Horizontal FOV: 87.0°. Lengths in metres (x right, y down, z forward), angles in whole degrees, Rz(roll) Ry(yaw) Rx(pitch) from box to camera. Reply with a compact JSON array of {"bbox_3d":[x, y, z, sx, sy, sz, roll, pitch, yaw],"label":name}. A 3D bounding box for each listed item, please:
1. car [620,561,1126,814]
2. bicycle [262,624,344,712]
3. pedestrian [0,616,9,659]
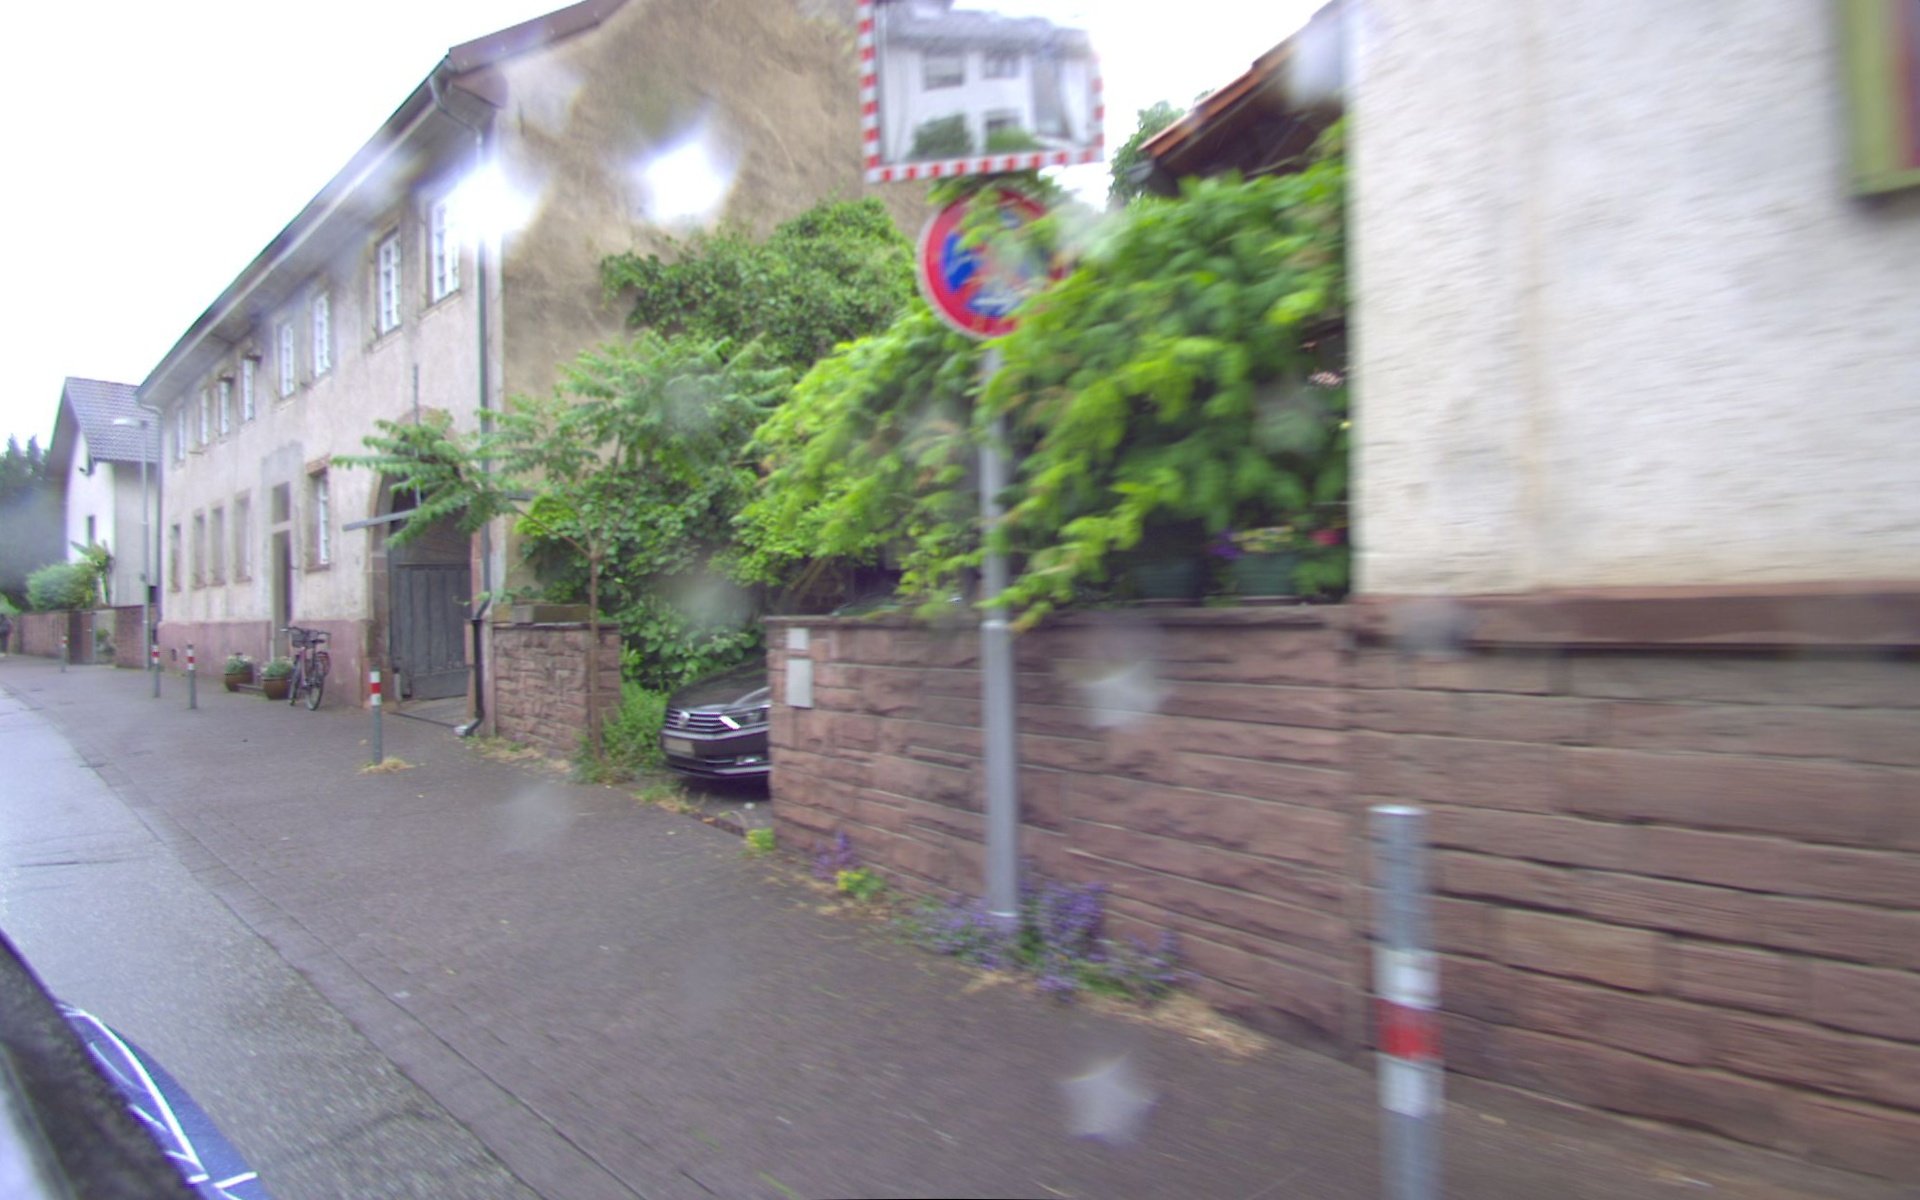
[{"bbox_3d":[-0.579,0.537,8.601,3.939,1.436,1.738,-6,4,-40],"label":"car"},{"bbox_3d":[-9.584,0.967,14.729,1.873,1.187,0.476,-2,0,41],"label":"bicycle"},{"bbox_3d":[-35.340,1.385,37.086,0.832,1.550,0.566,-2,1,38],"label":"pedestrian"}]
